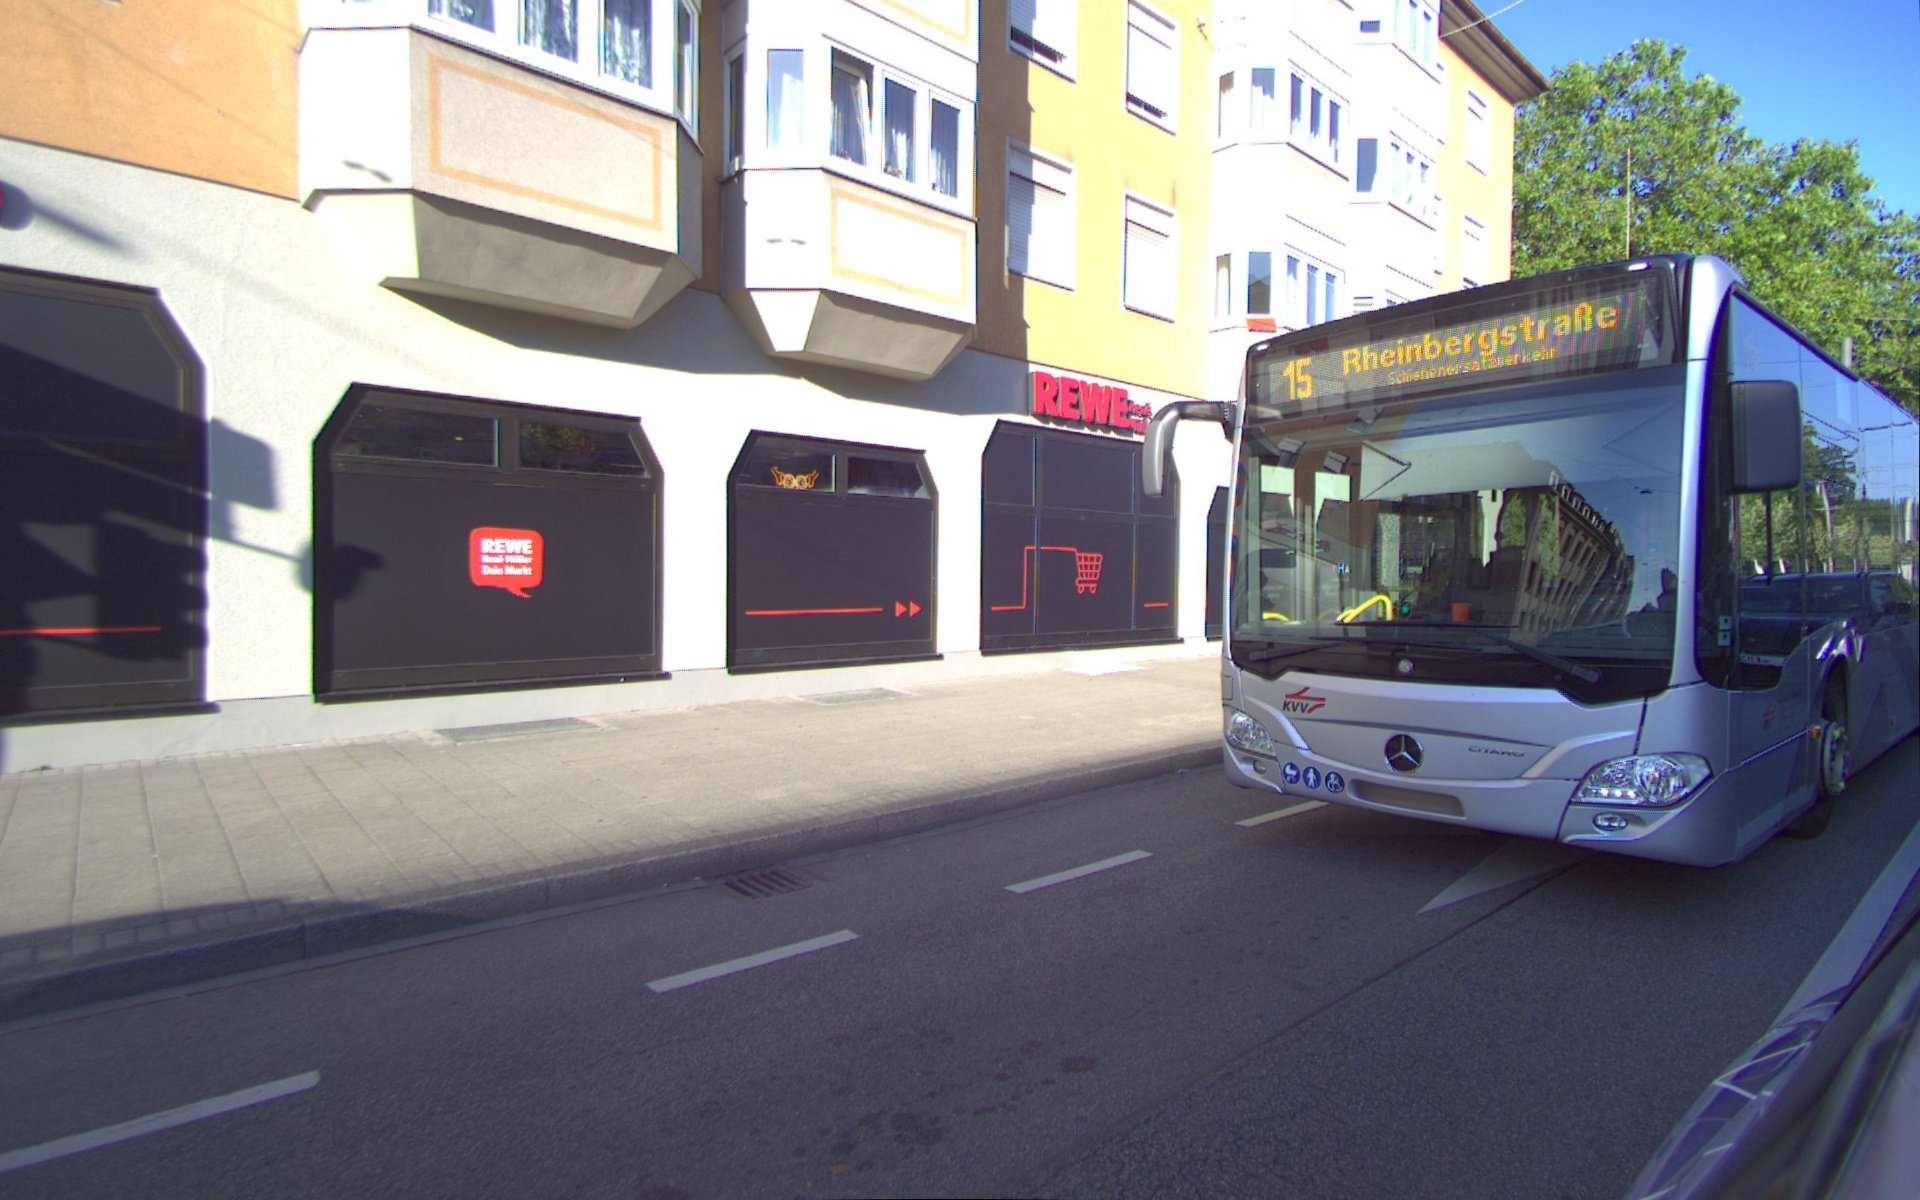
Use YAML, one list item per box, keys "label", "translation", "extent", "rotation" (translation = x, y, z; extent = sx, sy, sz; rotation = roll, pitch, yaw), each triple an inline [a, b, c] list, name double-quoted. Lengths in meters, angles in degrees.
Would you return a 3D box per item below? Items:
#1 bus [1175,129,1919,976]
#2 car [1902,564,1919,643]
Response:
- label: "bus"
  translation: [8.686, -0.400, 10.643]
  extent: [17.436, 3.189, 2.770]
  rotation: [-2, 2, -41]
- label: "car"
  translation: [21.931, 0.032, 22.082]
  extent: [3.760, 1.627, 1.747]
  rotation: [-2, 2, -43]
